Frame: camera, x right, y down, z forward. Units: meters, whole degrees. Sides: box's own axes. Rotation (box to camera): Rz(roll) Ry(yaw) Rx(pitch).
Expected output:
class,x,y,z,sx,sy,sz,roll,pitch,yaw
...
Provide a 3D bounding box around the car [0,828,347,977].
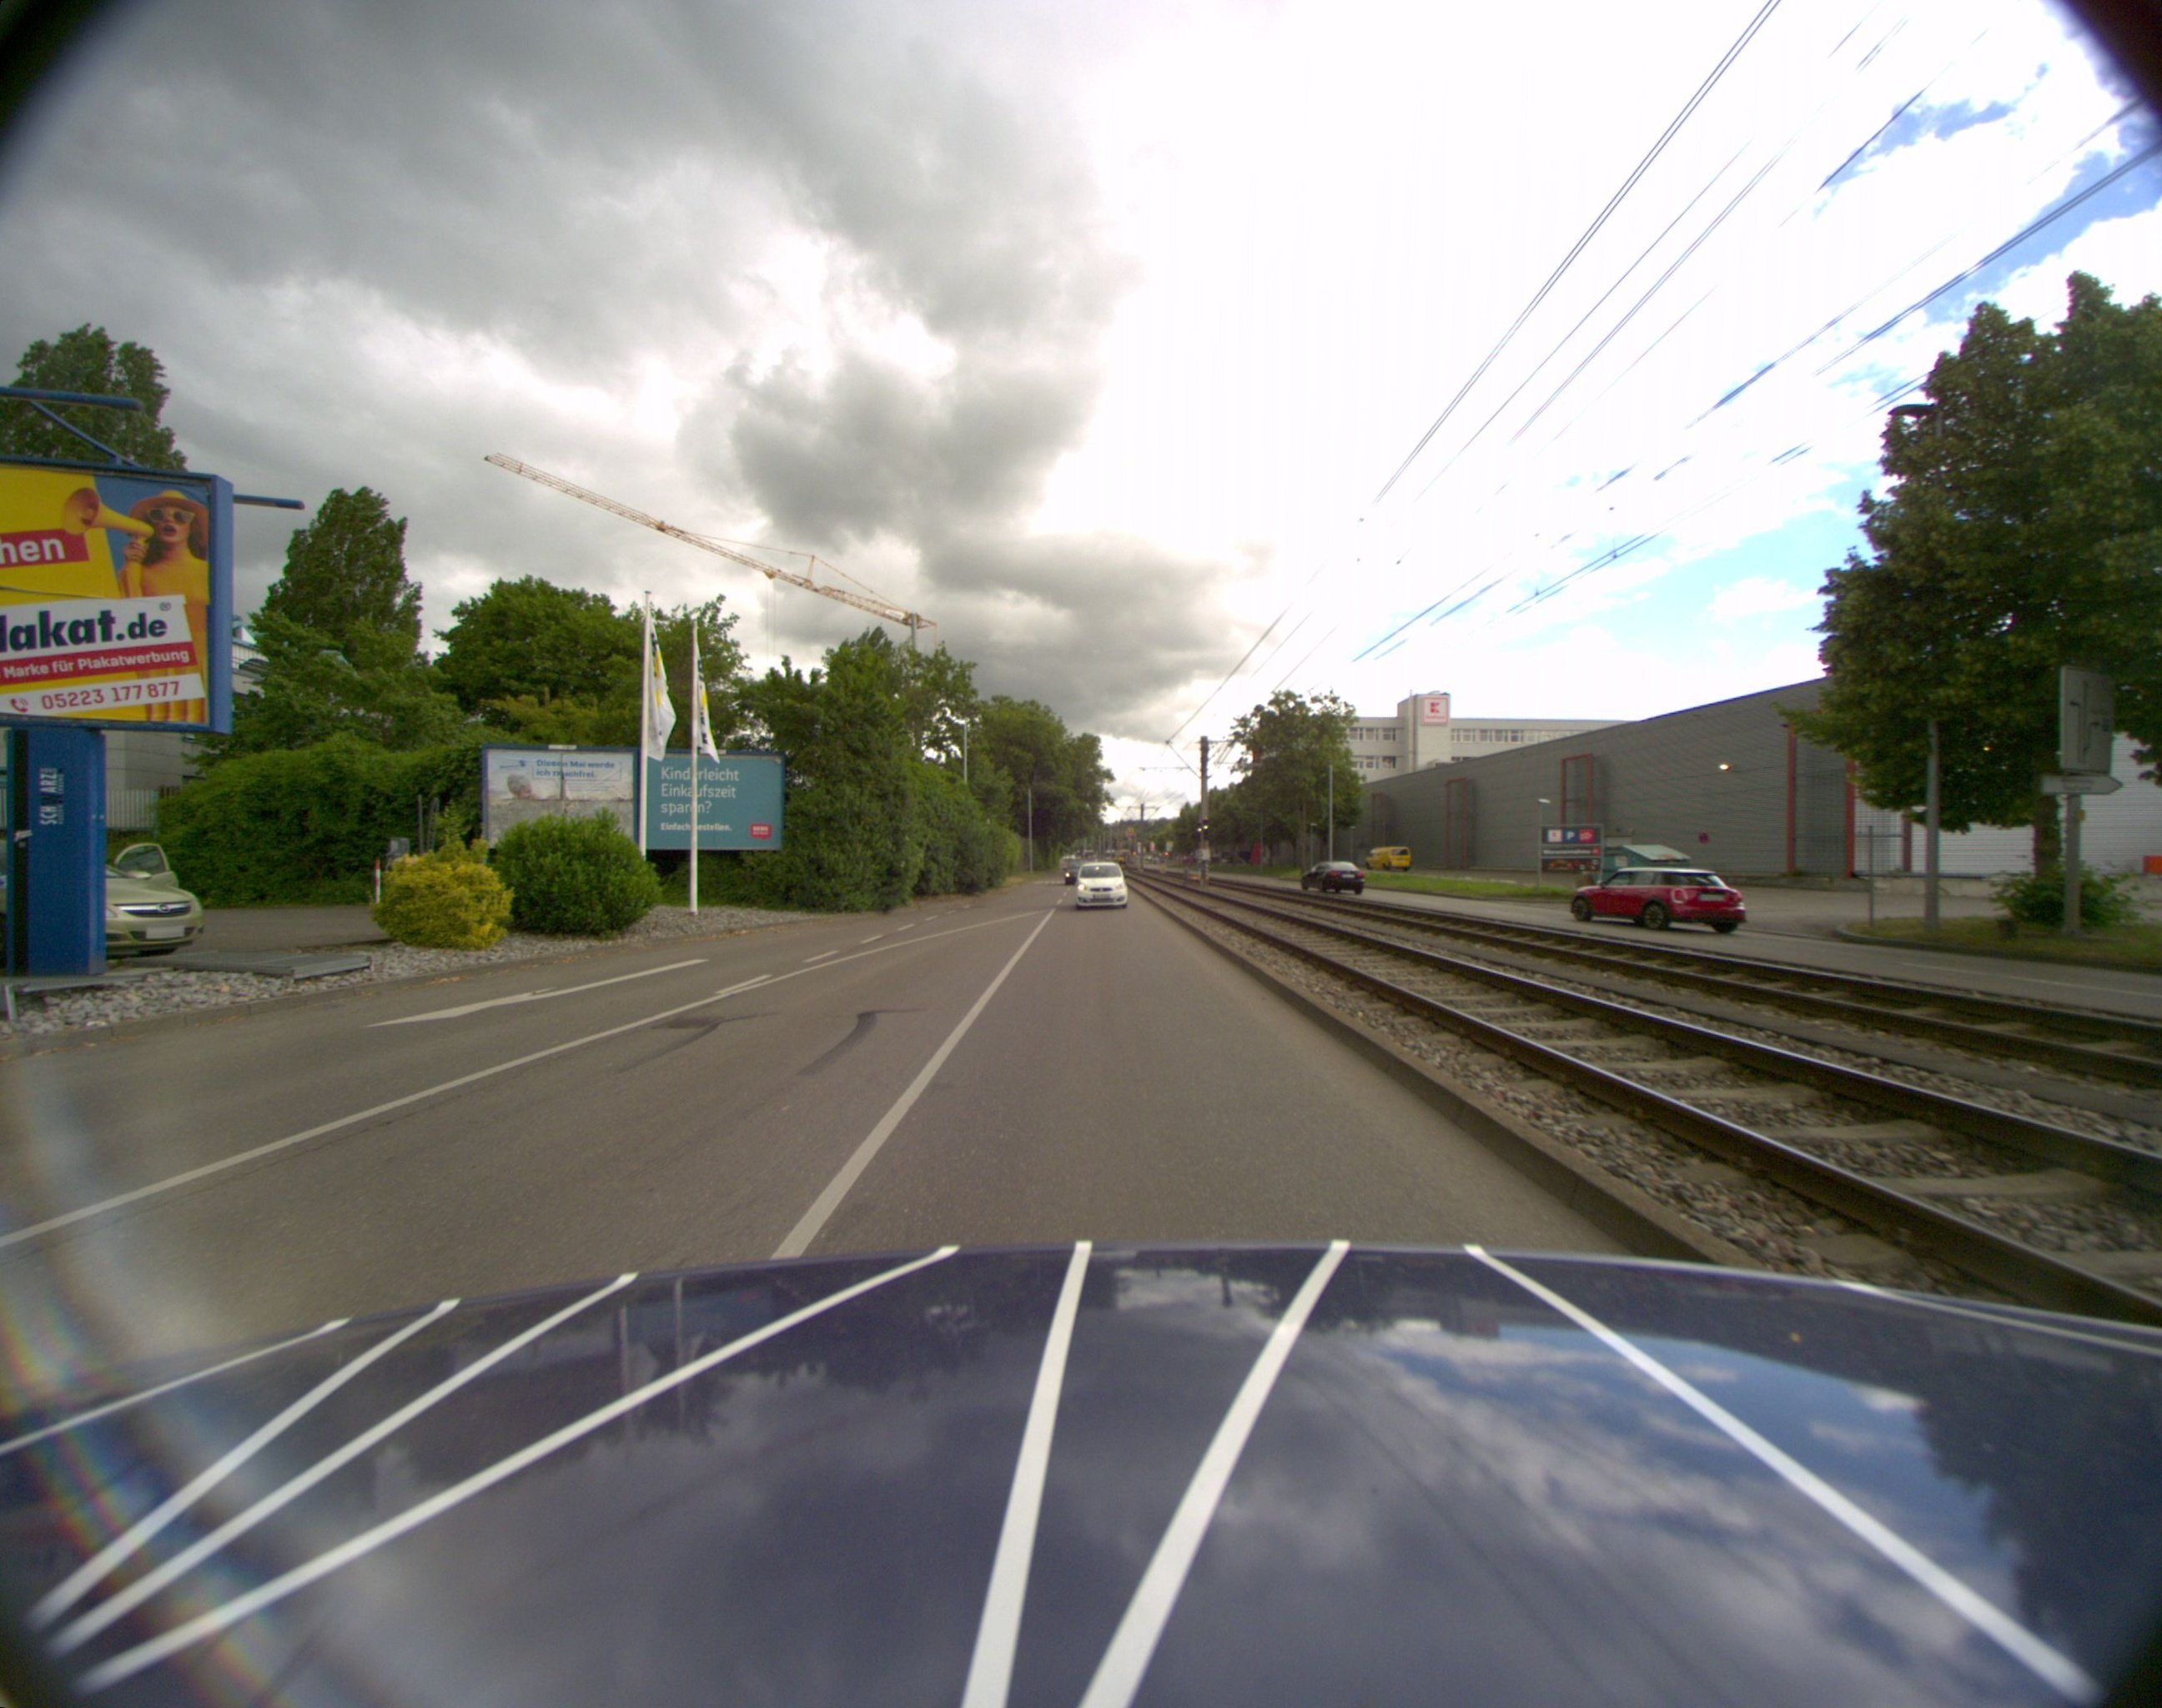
class,x,y,z,sx,sy,sz,roll,pitch,yaw
car,-12.878,0.532,9.733,4.029,1.646,2.944,0,0,-6

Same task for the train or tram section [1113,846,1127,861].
class,x,y,z,sx,sy,sz,roll,pitch,yaw
train or tram section,10.330,-0.172,201.388,2.778,3.753,13.786,-1,0,-1

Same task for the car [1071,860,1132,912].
class,x,y,z,sx,sy,sz,roll,pitch,yaw
car,0.634,0.976,24.553,1.764,1.469,4.031,-2,0,0

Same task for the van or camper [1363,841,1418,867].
class,x,y,z,sx,sy,sz,roll,pitch,yaw
van or camper,25.194,0.041,62.071,2.109,2.002,5.241,-1,0,-2

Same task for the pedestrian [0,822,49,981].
class,x,y,z,sx,sy,sz,roll,pitch,yaw
pedestrian,-11.594,0.493,7.999,0.633,1.661,0.585,0,0,-9

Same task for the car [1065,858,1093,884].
class,x,y,z,sx,sy,sz,roll,pitch,yaw
car,-0.102,1.049,49.061,1.714,1.586,4.000,-1,0,1

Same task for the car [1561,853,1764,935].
class,x,y,z,sx,sy,sz,roll,pitch,yaw
car,13.787,0.862,18.361,1.797,1.761,3.999,0,0,-1

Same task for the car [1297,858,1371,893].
class,x,y,z,sx,sy,sz,roll,pitch,yaw
car,11.200,0.899,33.965,1.763,1.393,4.443,2,0,0
